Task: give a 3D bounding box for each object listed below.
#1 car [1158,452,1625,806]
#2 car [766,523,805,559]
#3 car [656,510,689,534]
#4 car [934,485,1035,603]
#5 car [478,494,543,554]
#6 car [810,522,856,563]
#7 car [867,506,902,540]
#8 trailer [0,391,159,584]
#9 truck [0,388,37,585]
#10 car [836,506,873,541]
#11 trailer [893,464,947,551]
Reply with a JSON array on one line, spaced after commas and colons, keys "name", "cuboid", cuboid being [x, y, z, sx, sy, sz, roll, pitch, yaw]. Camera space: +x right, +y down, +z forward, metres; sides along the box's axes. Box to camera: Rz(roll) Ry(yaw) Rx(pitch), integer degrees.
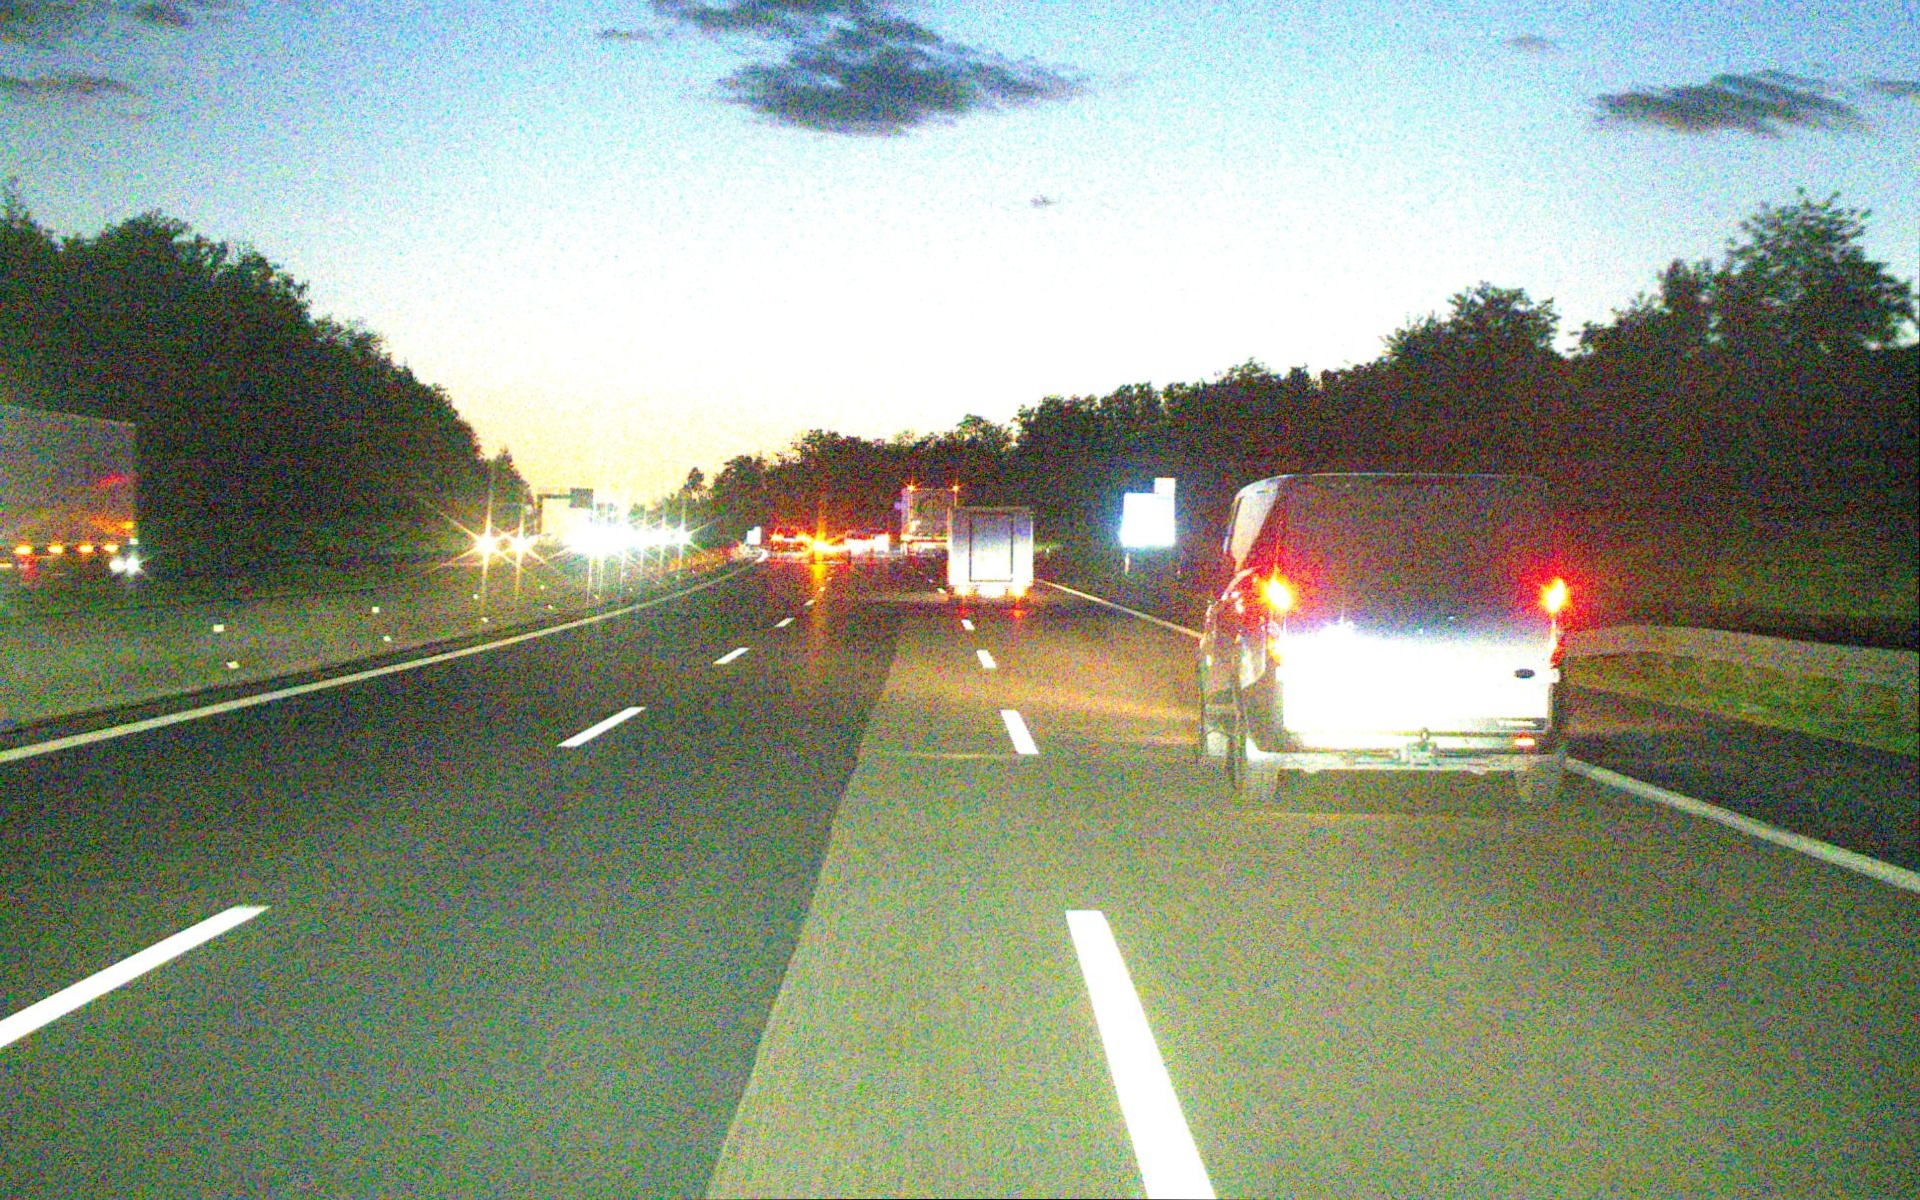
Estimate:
[{"name": "car", "cuboid": [2.630, 0.119, 22.491, 2.115, 1.994, 5.664, 1, 1, -2]}, {"name": "car", "cuboid": [-9.305, -3.164, 183.927, 1.993, 1.810, 4.000, 1, 0, -2]}, {"name": "car", "cuboid": [-20.730, -5.614, 247.998, 2.010, 1.664, 4.483, 0, 1, -1]}, {"name": "car", "cuboid": [0.528, -1.324, 80.893, 2.032, 2.638, 5.726, 1, 1, -3]}, {"name": "car", "cuboid": [-19.339, -3.264, 148.047, 2.101, 2.509, 6.216, 1, 1, -1]}, {"name": "car", "cuboid": [-5.972, -2.679, 161.241, 1.993, 1.788, 4.000, 1, 0, -4]}, {"name": "car", "cuboid": [-5.054, -5.107, 229.211, 1.993, 2.110, 4.001, 1, -1, -6]}, {"name": "trailer", "cuboid": [-21.282, -2.455, 77.517, 3.430, 3.966, 13.813, 1, 1, -1]}, {"name": "truck", "cuboid": [-21.113, -2.317, 69.305, 3.430, 3.966, 6.208, 1, 1, -1]}, {"name": "car", "cuboid": [-5.902, -4.268, 192.179, 1.993, 1.788, 4.000, 1, 0, -2]}, {"name": "trailer", "cuboid": [-2.234, -5.096, 193.777, 2.829, 4.242, 17.048, 1, 0, 0]}]
